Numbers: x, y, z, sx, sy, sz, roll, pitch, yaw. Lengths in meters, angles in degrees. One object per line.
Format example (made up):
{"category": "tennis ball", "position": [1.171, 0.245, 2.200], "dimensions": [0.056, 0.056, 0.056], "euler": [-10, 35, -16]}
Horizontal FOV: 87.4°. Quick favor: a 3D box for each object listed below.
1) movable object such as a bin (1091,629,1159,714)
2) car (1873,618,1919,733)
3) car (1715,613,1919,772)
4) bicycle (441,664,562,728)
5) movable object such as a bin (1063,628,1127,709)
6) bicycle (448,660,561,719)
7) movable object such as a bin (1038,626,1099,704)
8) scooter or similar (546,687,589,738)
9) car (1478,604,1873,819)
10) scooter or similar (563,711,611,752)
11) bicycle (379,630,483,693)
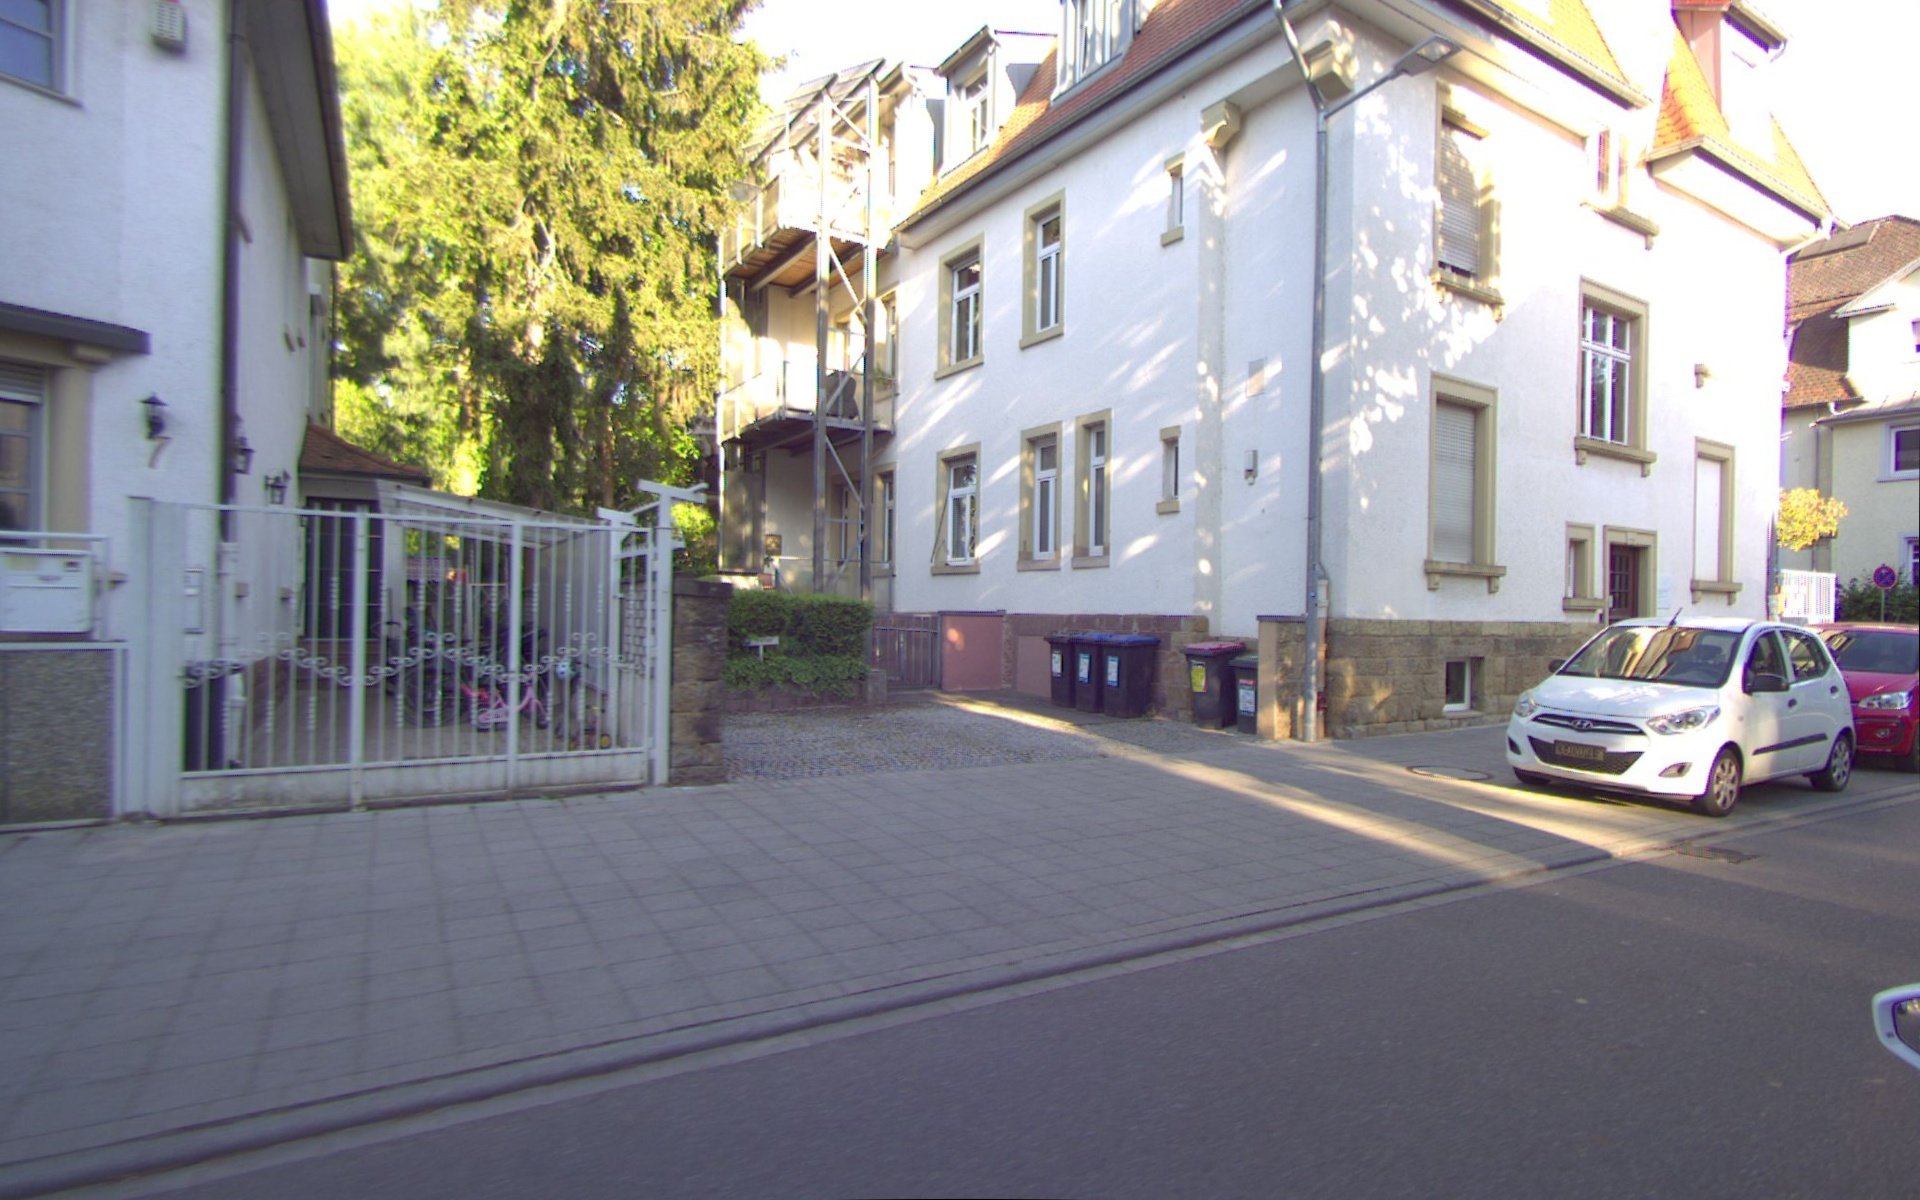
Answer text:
{"category": "movable object such as a bin", "position": [2.203, 0.939, 13.430], "dimensions": [0.656, 1.062, 0.580], "euler": [0, 1, -29]}
{"category": "car", "position": [14.539, 1.024, 13.795], "dimensions": [4.576, 1.474, 1.645], "euler": [1, 1, -30]}
{"category": "car", "position": [10.310, 0.936, 11.490], "dimensions": [3.668, 1.496, 1.571], "euler": [1, 1, -34]}
{"category": "bicycle", "position": [-5.045, 1.043, 11.064], "dimensions": [1.182, 0.629, 0.431], "euler": [1, 0, -30]}
{"category": "movable object such as a bin", "position": [1.874, 0.935, 13.954], "dimensions": [0.656, 1.062, 0.580], "euler": [0, 1, -29]}
{"category": "bicycle", "position": [-5.388, 1.041, 11.897], "dimensions": [1.182, 0.629, 0.431], "euler": [1, 0, -30]}
{"category": "movable object such as a bin", "position": [1.557, 0.925, 14.465], "dimensions": [0.656, 1.062, 0.580], "euler": [0, 1, -29]}
{"category": "scooter or similar", "position": [-4.141, 1.171, 10.572], "dimensions": [0.289, 0.433, 0.923], "euler": [1, 0, -30]}
{"category": "car", "position": [6.463, 0.846, 8.996], "dimensions": [3.665, 1.541, 1.573], "euler": [1, 1, -32]}
{"category": "scooter or similar", "position": [-3.589, 1.251, 9.645], "dimensions": [0.289, 0.280, 0.923], "euler": [1, -1, -30]}
{"category": "bicycle", "position": [-7.530, 0.863, 14.316], "dimensions": [1.284, 0.848, 0.431], "euler": [1, 0, -30]}
